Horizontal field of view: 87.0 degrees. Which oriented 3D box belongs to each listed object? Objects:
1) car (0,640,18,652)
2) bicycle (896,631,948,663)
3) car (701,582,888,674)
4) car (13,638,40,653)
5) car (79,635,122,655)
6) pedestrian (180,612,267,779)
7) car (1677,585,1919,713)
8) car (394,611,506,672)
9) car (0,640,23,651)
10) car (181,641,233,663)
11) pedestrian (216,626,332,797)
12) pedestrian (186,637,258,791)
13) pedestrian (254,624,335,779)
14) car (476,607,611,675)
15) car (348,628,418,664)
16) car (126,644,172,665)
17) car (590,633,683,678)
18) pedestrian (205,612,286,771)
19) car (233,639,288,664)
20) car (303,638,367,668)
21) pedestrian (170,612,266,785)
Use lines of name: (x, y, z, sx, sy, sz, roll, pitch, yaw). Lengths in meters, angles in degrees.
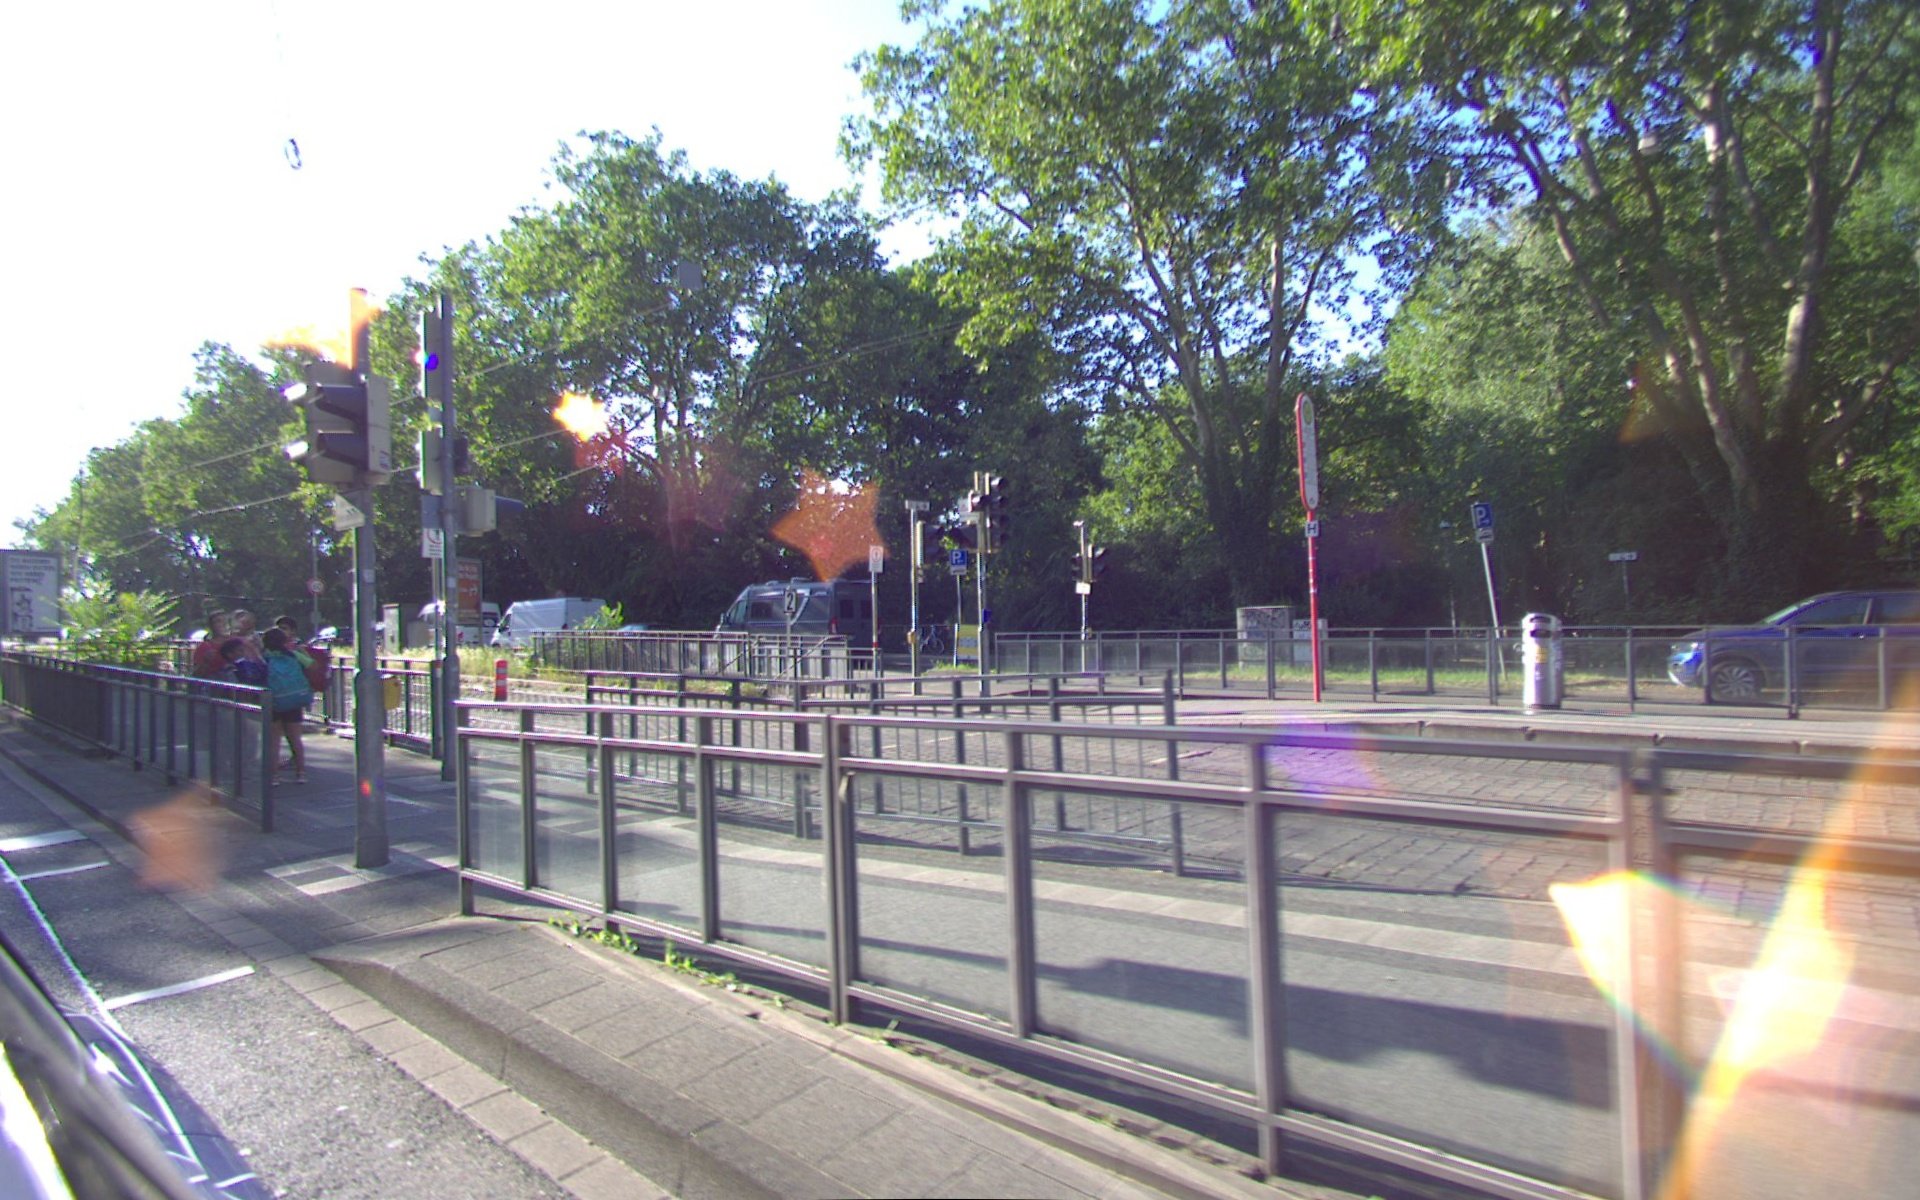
car: (-121.588, 5.834, 129.014, 3.921, 1.511, 1.638, -2, -3, 39)
bicycle: (-1.295, 1.566, 34.121, 1.863, 1.037, 0.575, -2, -2, 43)
car: (-5.114, 0.878, 30.636, 6.026, 2.540, 2.161, -2, -3, 39)
car: (-109.133, 5.265, 118.306, 3.896, 1.753, 1.713, -2, -3, 39)
car: (-75.846, 3.975, 89.262, 4.384, 1.732, 1.811, -1, -3, 35)
pedestrian: (-7.224, 0.923, 9.948, 0.512, 1.580, 0.509, 1, -3, -19)
car: (12.656, 0.683, 14.355, 3.967, 1.664, 1.884, -2, -3, 38)
car: (-22.887, 1.834, 45.292, 6.044, 2.540, 2.162, -2, -3, 39)
car: (-117.564, 5.628, 125.412, 3.782, 1.453, 1.637, -2, -3, 40)
car: (-50.982, 3.474, 68.473, 4.319, 1.448, 1.809, -2, -3, 39)
pedestrian: (-5.949, 0.939, 8.789, 0.555, 1.417, 0.587, -1, -3, 20)
pedestrian: (-6.570, 0.994, 9.007, 0.359, 1.331, 0.411, -2, -4, 41)
pedestrian: (-6.607, 0.987, 10.049, 0.514, 1.483, 0.514, -2, -4, 42)
car: (-16.695, 1.627, 40.397, 6.263, 2.540, 2.162, -2, -3, 38)
car: (-28.763, 2.263, 50.412, 3.878, 1.741, 1.722, -2, -3, 39)
car: (-61.756, 4.109, 77.049, 4.390, 1.517, 1.809, -2, -3, 39)
car: (-11.628, 1.960, 36.329, 3.261, 1.524, 1.636, -2, -3, 38)
pedestrian: (-7.348, 0.925, 10.426, 0.512, 1.580, 0.509, 1, -3, -19)
car: (-42.737, 3.112, 61.827, 3.848, 1.448, 1.722, -2, -3, 39)
car: (-33.413, 2.809, 54.115, 3.878, 1.567, 1.722, -2, -3, 39)
pedestrian: (-6.874, 0.891, 9.381, 0.514, 1.531, 0.583, -2, -4, 41)
